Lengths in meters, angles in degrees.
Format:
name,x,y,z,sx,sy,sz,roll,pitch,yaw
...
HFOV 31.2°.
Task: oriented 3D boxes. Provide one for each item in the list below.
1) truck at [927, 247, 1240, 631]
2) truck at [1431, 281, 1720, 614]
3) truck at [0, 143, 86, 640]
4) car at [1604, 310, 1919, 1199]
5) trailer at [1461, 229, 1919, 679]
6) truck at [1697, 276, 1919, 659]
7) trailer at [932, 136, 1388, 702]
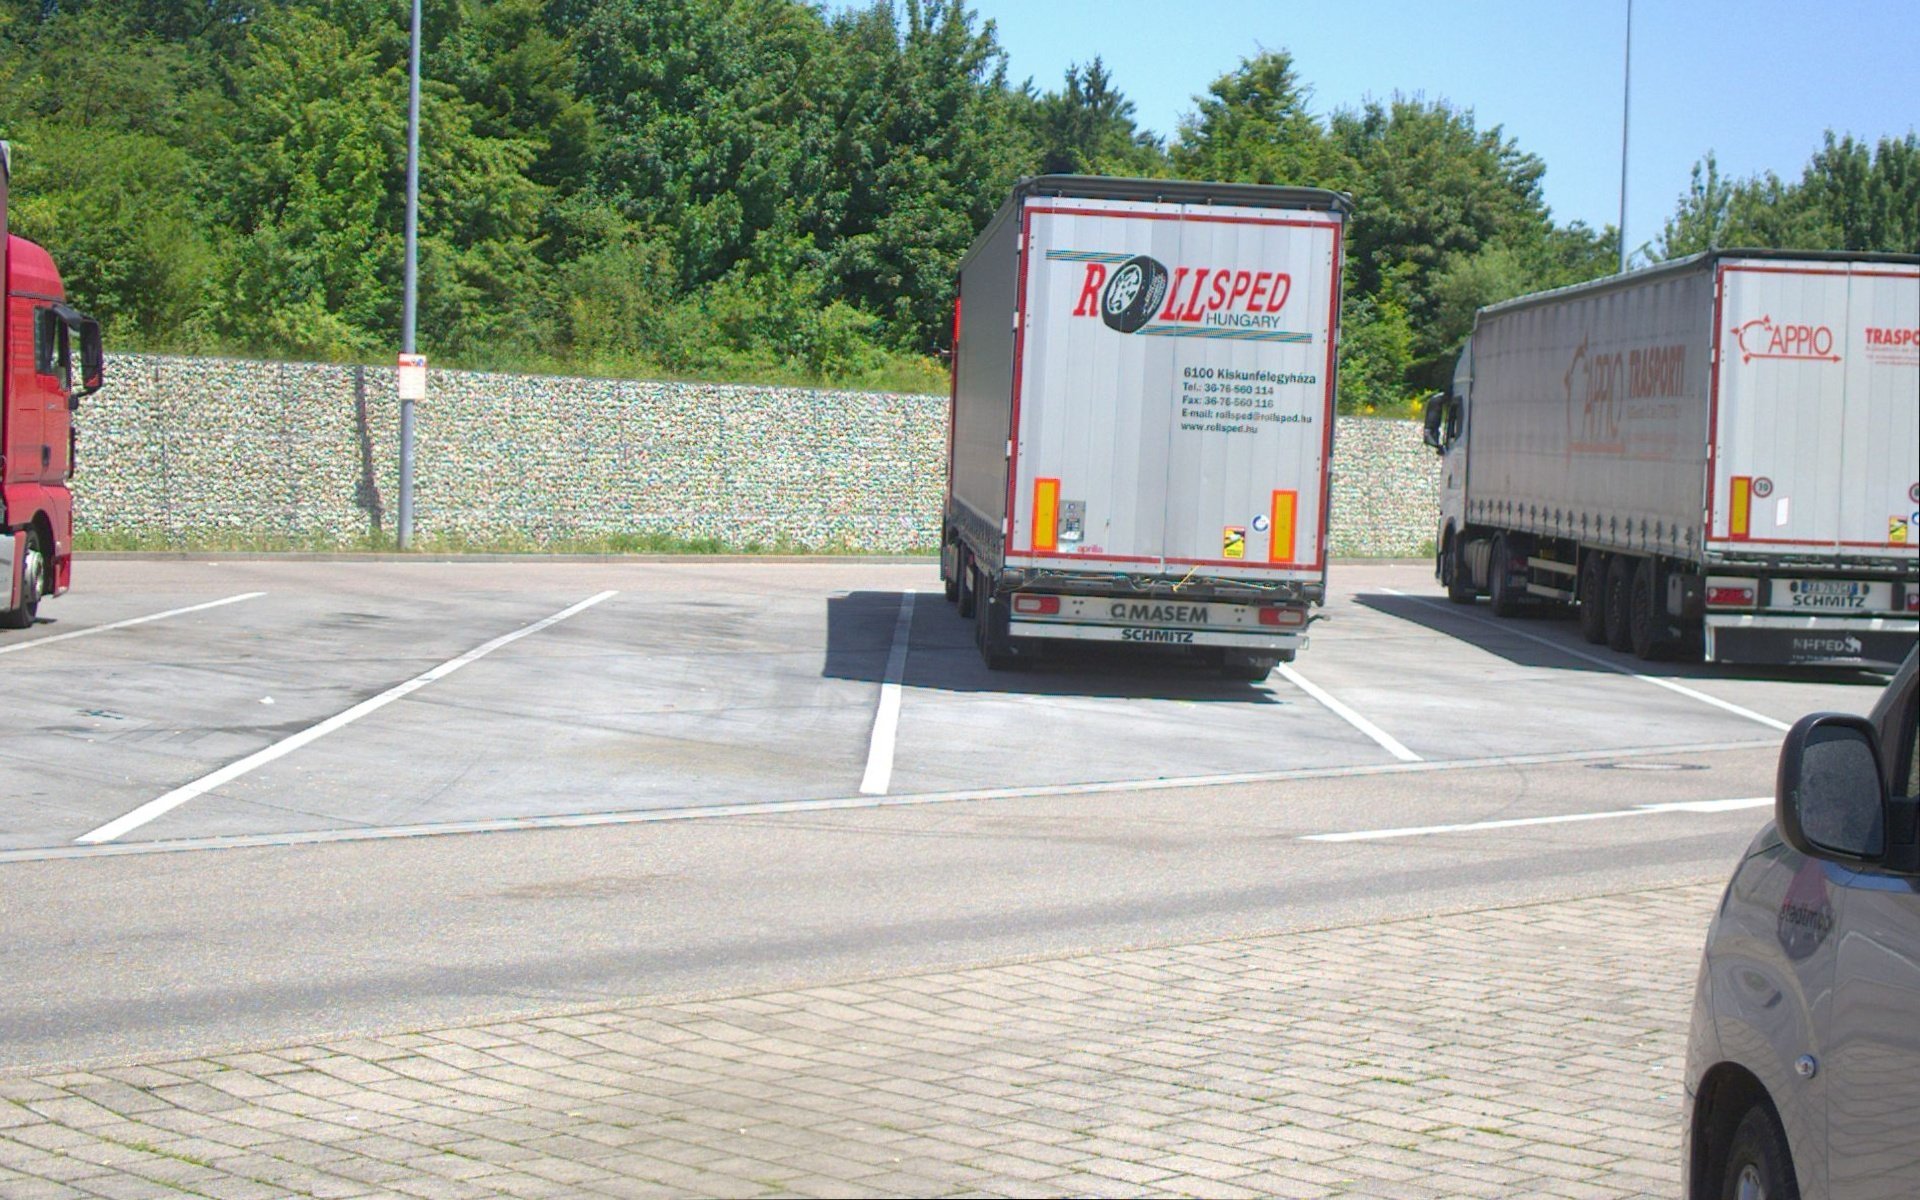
name,x,y,z,sx,sy,sz,roll,pitch,yaw
truck,1.260,-1.850,39.405,3.026,3.915,6.847,2,3,-2
truck,8.024,-1.983,45.469,2.757,4.110,5.285,1,2,-1
truck,-9.235,-1.699,27.655,2.743,4.067,6.830,1,2,-1
car,2.132,0.541,3.793,1.825,1.747,4.001,1,2,-4
trailer,8.138,-1.568,38.473,2.876,4.110,13.572,1,2,-1
truck,11.727,-1.469,39.805,2.904,4.110,14.528,3,2,-1
trailer,1.475,-1.693,32.637,3.069,4.213,12.810,2,3,-2
